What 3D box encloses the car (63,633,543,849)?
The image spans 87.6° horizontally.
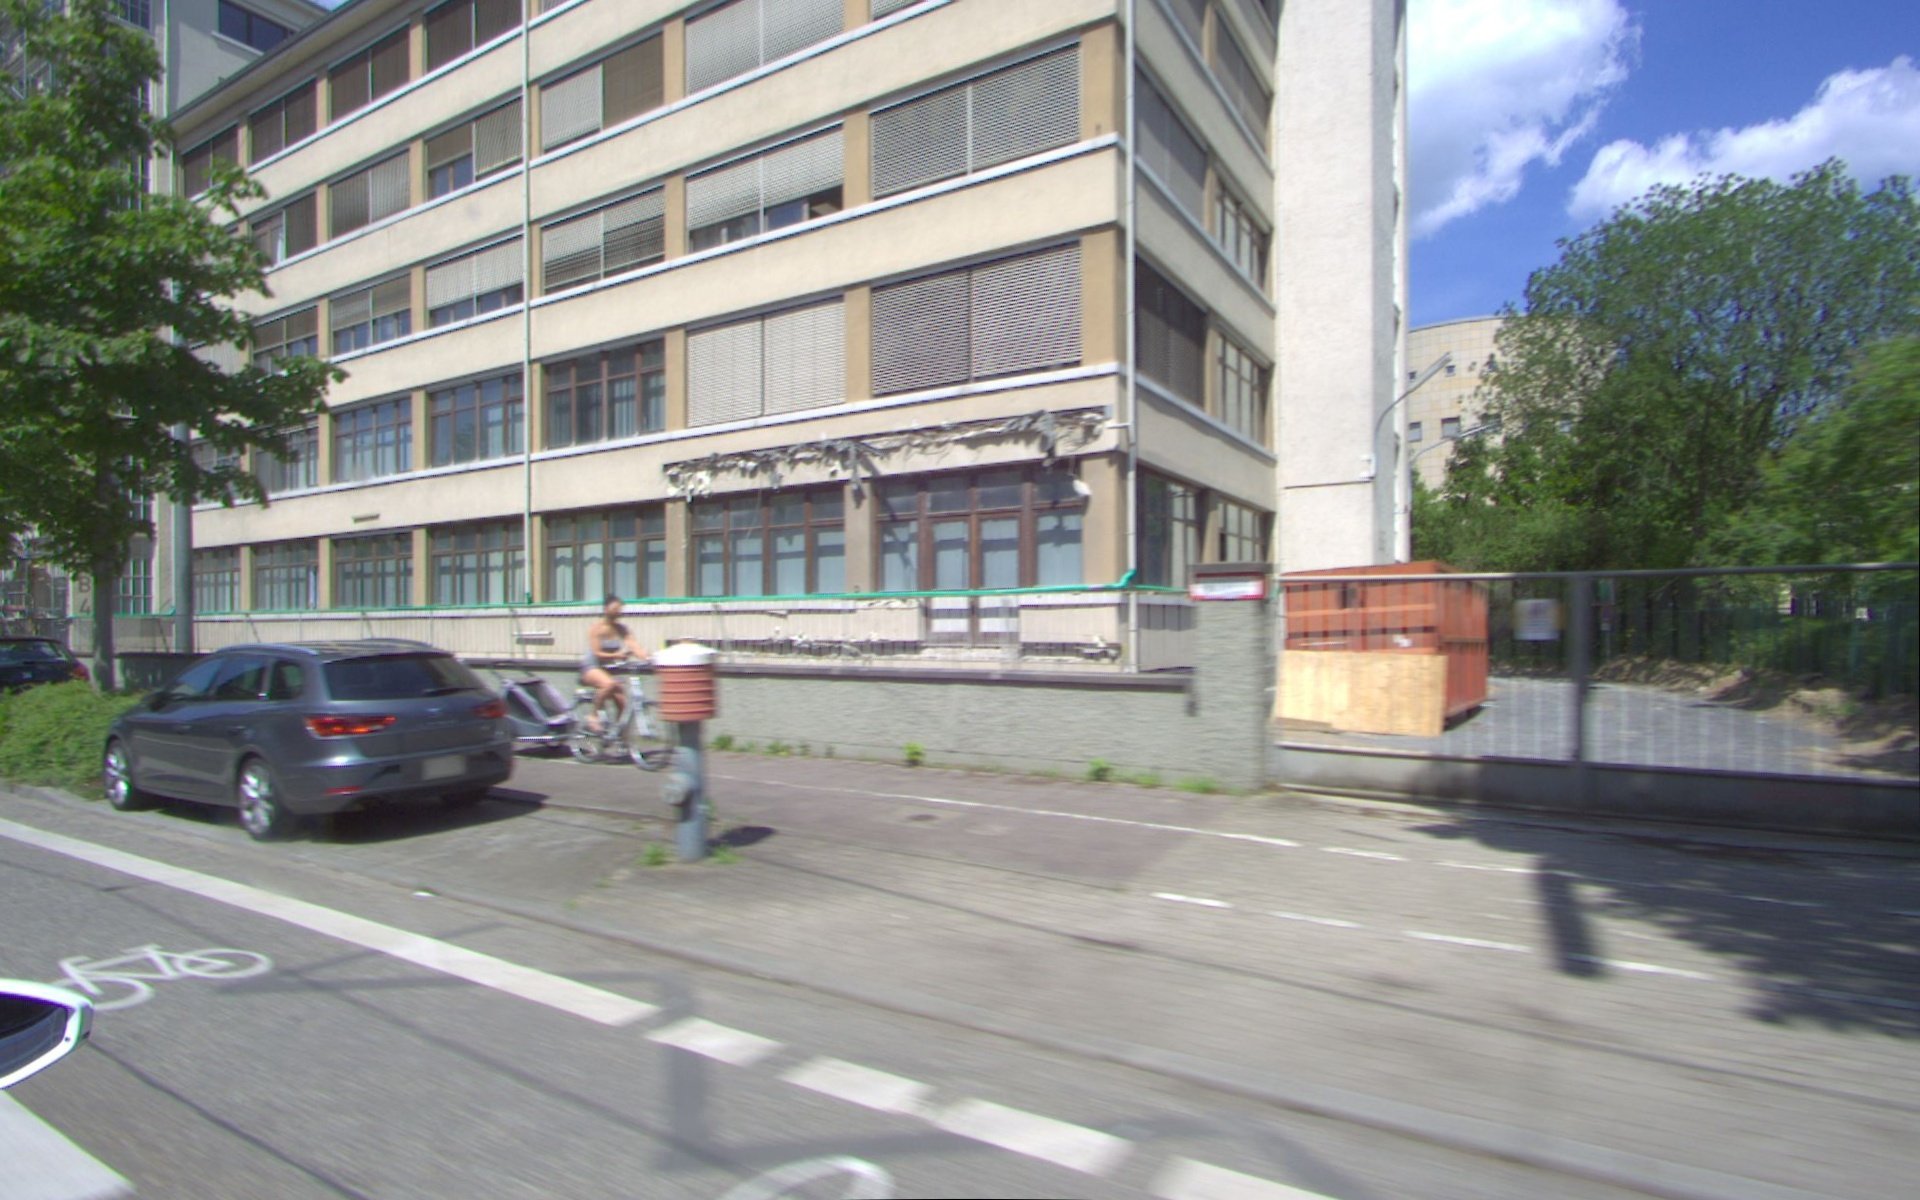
[{"bbox_3d":[-5.833,1.020,8.703,4.680,1.426,1.669,-1,-1,31],"label":"car"}]

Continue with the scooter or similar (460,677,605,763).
[{"bbox_3d":[-4.813,1.318,11.262,1.533,0.818,0.760,-1,1,32],"label":"scooter or similar"}]

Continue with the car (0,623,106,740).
[{"bbox_3d":[-13.991,1.090,14.256,3.923,1.509,1.669,-1,-1,31],"label":"car"}]

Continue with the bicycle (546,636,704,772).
[{"bbox_3d":[-3.498,1.035,10.409,1.748,1.282,0.553,-1,2,32],"label":"bicycle"}]

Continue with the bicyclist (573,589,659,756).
[{"bbox_3d":[-3.587,0.731,10.452,0.591,1.670,0.579,0,1,32],"label":"bicyclist"}]
